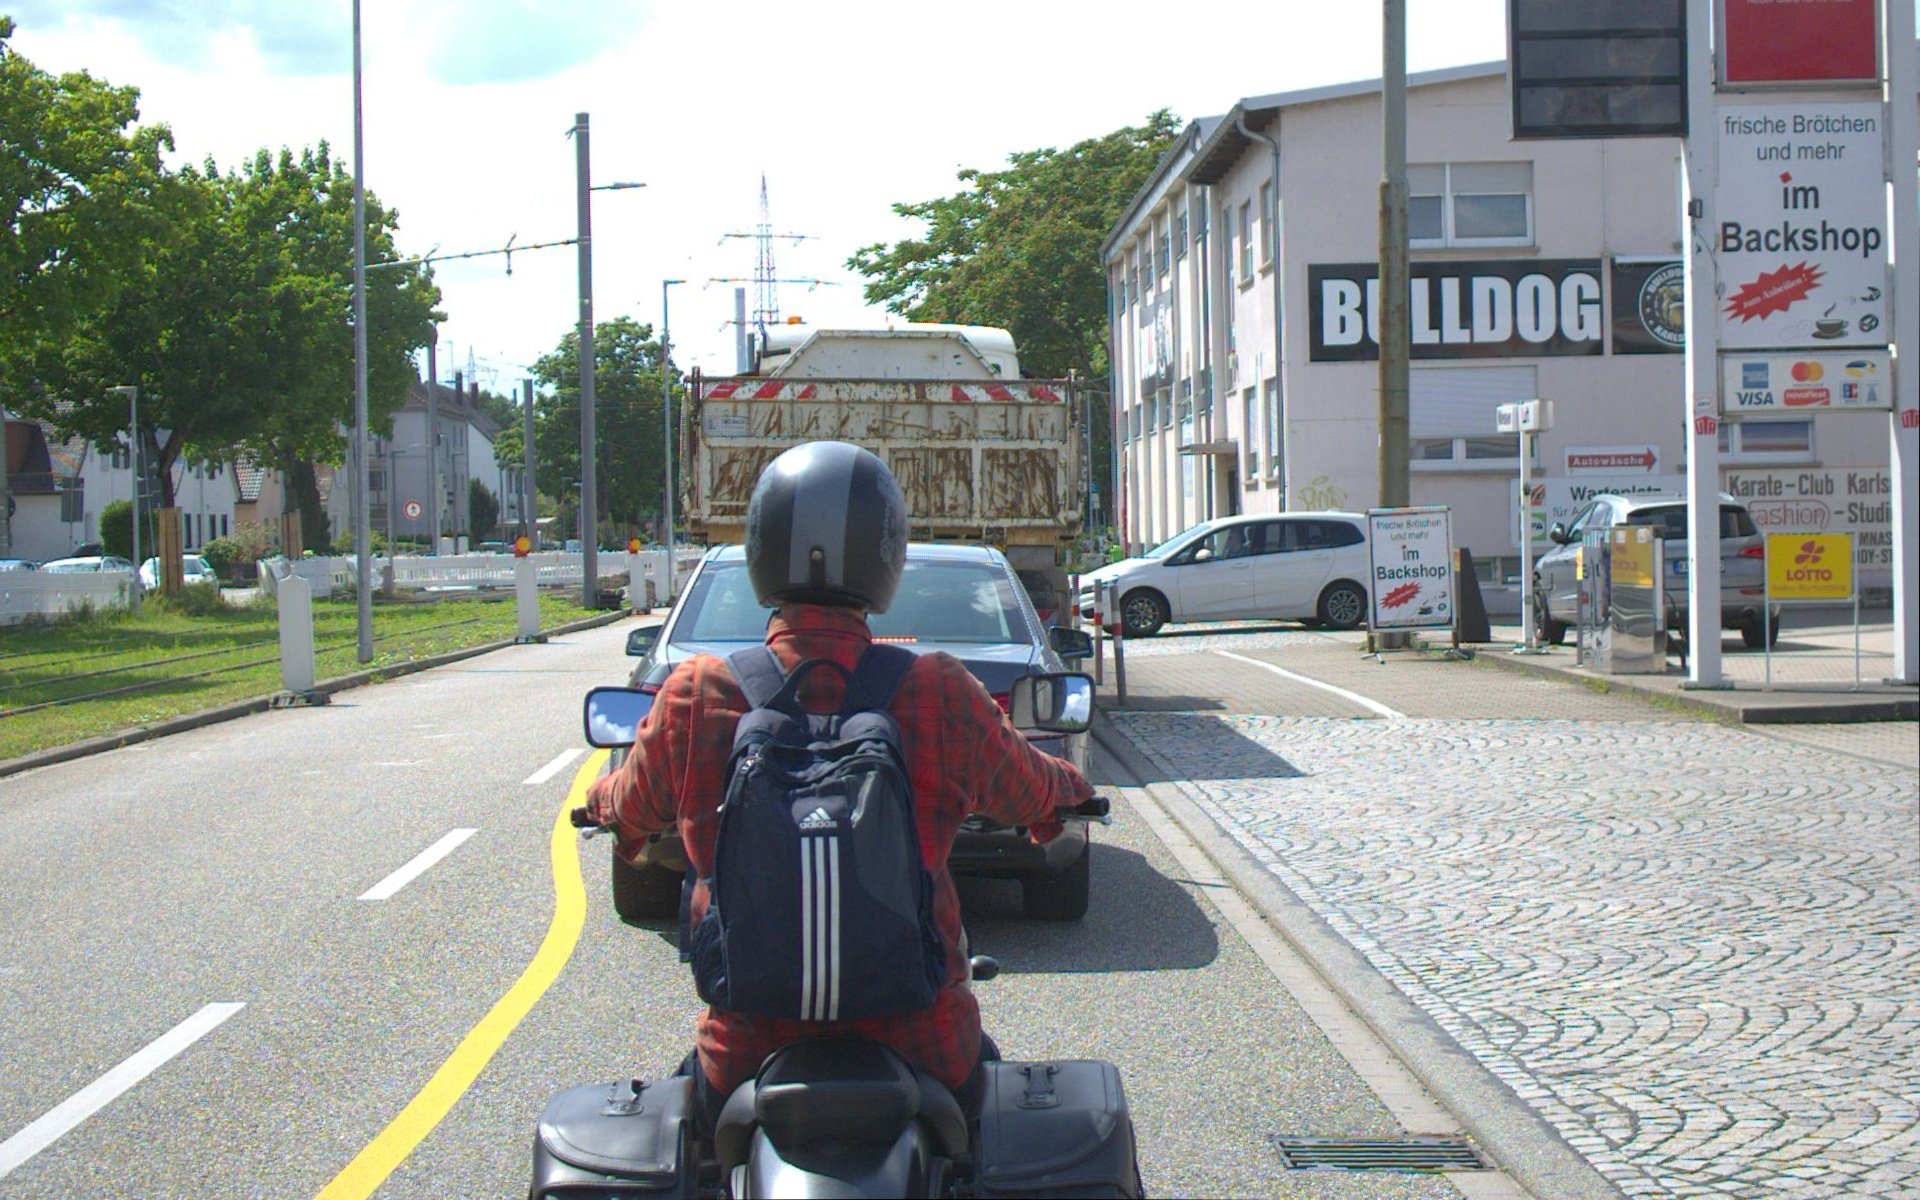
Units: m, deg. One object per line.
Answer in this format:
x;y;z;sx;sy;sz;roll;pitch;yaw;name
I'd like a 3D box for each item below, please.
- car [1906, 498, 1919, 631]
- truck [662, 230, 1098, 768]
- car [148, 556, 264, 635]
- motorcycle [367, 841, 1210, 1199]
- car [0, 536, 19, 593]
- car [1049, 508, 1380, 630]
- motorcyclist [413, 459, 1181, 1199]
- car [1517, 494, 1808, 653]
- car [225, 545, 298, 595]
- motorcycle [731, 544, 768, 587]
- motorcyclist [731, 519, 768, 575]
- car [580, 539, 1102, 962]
11.737;-0.384;37.090;1.806;1.498;3.834;-1;1;-3;car
-0.539;-0.716;25.362;2.638;3.285;8.057;-1;1;-1;truck
-17.498;-0.132;79.957;1.776;1.717;4.128;-1;1;0;car
-0.206;0.955;5.337;0.979;0.894;2.653;-1;1;-1;motorcycle
-30.048;-1.063;104.401;1.776;1.717;4.128;-1;1;0;car
3.459;-0.438;47.025;4.229;1.537;1.673;-1;1;-8;car
-0.210;0.612;5.025;0.979;1.597;1.088;-1;1;-1;motorcyclist
7.382;-0.309;36.520;1.667;1.557;4.245;-1;1;-8;car
-25.424;-1.102;125.237;1.776;1.717;4.128;-1;1;0;car
-5.207;-0.854;85.195;0.868;1.017;2.245;-1;1;-3;motorcycle
-5.221;-1.327;85.364;0.868;1.373;0.800;-1;1;-3;motorcyclist
-0.443;0.498;14.152;1.823;1.447;4.000;1;1;-1;car
